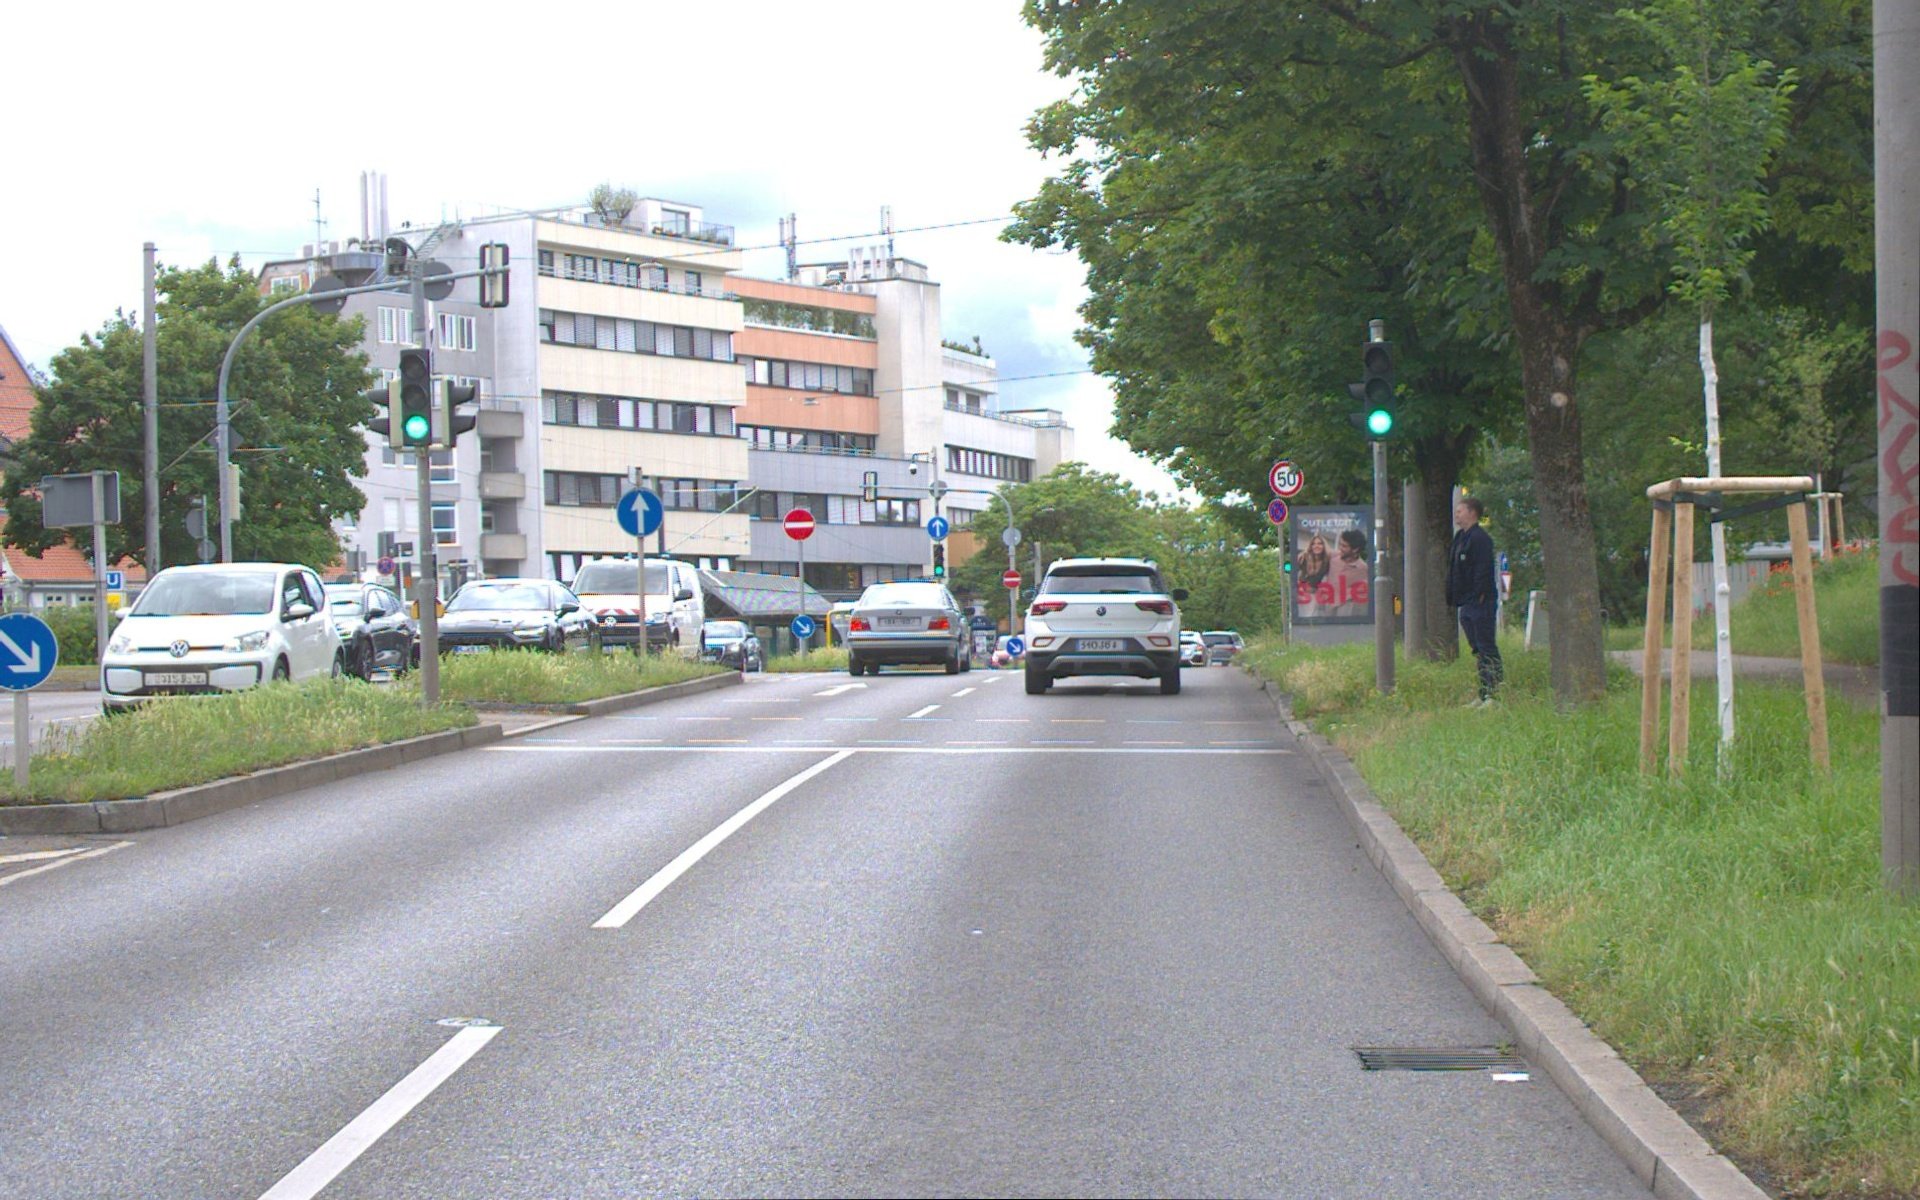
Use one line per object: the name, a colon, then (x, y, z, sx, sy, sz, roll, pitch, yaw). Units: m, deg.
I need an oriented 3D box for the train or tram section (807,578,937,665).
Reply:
train or tram section: (-3.637, 1.006, 146.608, 2.560, 3.399, 13.074, -2, -2, 12)

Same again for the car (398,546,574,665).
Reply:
car: (-6.435, 0.036, 47.122, 1.777, 1.476, 4.481, -2, 1, 0)

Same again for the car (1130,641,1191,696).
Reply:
car: (6.447, 2.191, 110.817, 1.770, 1.565, 4.285, -1, 1, 1)

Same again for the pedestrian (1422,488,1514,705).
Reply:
pedestrian: (4.410, -0.038, 29.878, 0.642, 1.849, 0.673, -1, 1, -2)

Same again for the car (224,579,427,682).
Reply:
car: (-9.153, 0.416, 49.887, 1.784, 1.374, 3.950, 0, 1, 7)

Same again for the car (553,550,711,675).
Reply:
car: (-5.470, 0.162, 57.913, 1.836, 1.995, 4.857, 0, 1, 4)

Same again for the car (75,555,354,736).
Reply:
car: (-7.008, 0.382, 32.701, 1.777, 1.560, 4.000, -1, 1, 0)

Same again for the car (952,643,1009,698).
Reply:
car: (0.853, 2.880, 140.958, 1.994, 2.007, 4.834, 1, 2, 4)

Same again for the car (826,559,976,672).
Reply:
car: (-0.842, 0.200, 51.556, 1.700, 1.510, 3.735, -1, 2, 7)

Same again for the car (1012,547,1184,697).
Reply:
car: (1.648, 0.214, 40.048, 1.700, 1.543, 3.735, 2, 2, 6)

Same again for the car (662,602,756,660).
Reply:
car: (-6.485, 0.789, 89.272, 1.861, 1.423, 3.999, -1, 0, 4)
